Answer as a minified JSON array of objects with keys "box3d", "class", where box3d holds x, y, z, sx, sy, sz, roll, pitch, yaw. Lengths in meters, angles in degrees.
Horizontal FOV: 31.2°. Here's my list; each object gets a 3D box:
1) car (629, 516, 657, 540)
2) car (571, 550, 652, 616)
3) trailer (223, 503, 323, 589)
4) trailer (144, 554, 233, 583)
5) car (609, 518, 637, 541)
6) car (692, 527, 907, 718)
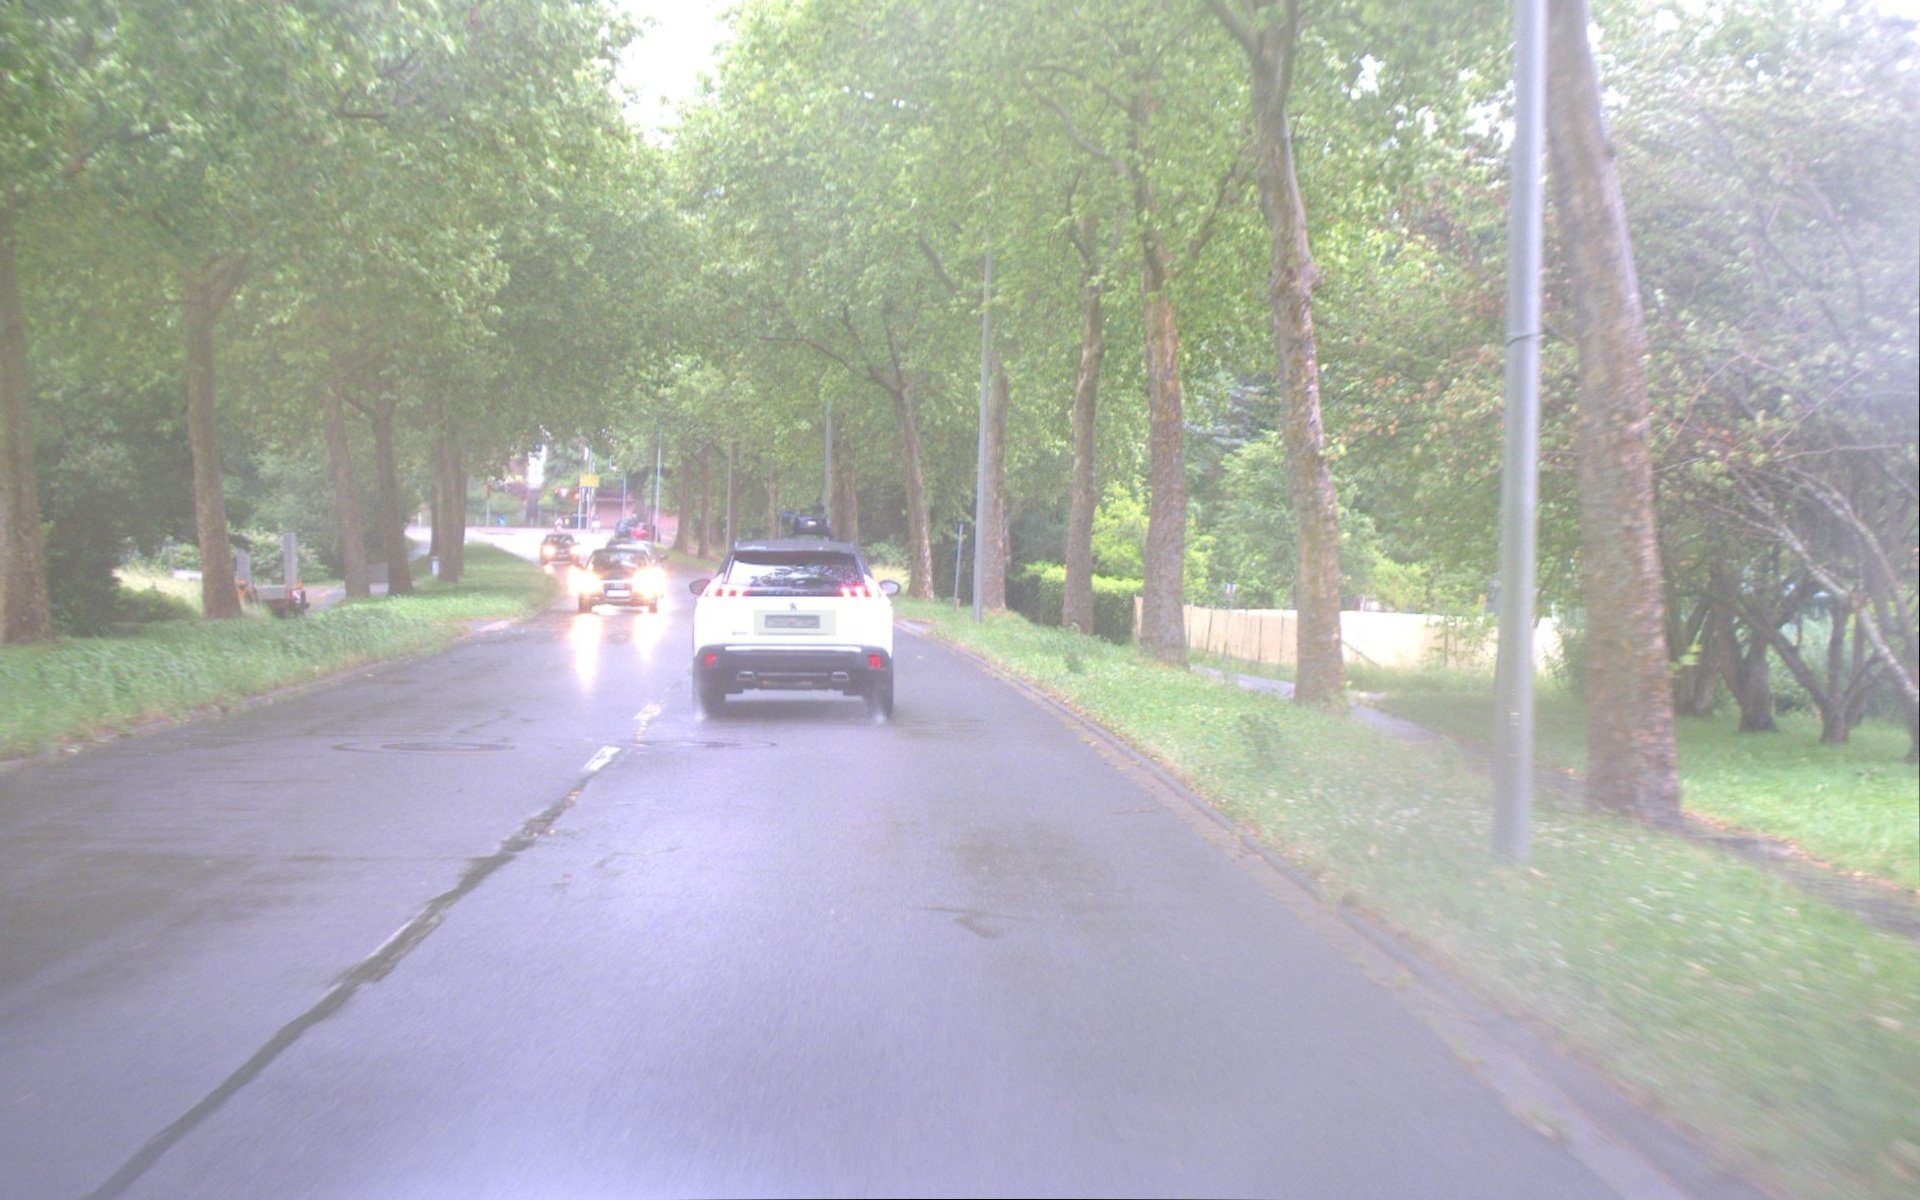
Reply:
[{"box3d":[-21.647,-4.924,234.887,1.827,1.590,3.654,2,1,-4],"class":"car"},{"box3d":[-7.817,-0.406,77.328,1.731,1.419,4.226,0,1,-5],"class":"car"},{"box3d":[-21.435,-1.711,107.505,2.484,2.558,5.333,1,1,-6],"class":"trailer"},{"box3d":[-32.069,-1.299,142.910,3.552,1.174,1.823,0,1,-13],"class":"trailer"},{"box3d":[-23.933,-5.004,244.358,1.827,1.590,3.654,2,1,-4],"class":"car"},{"box3d":[-1.483,0.152,31.264,1.793,1.573,3.845,1,1,-3],"class":"car"}]
